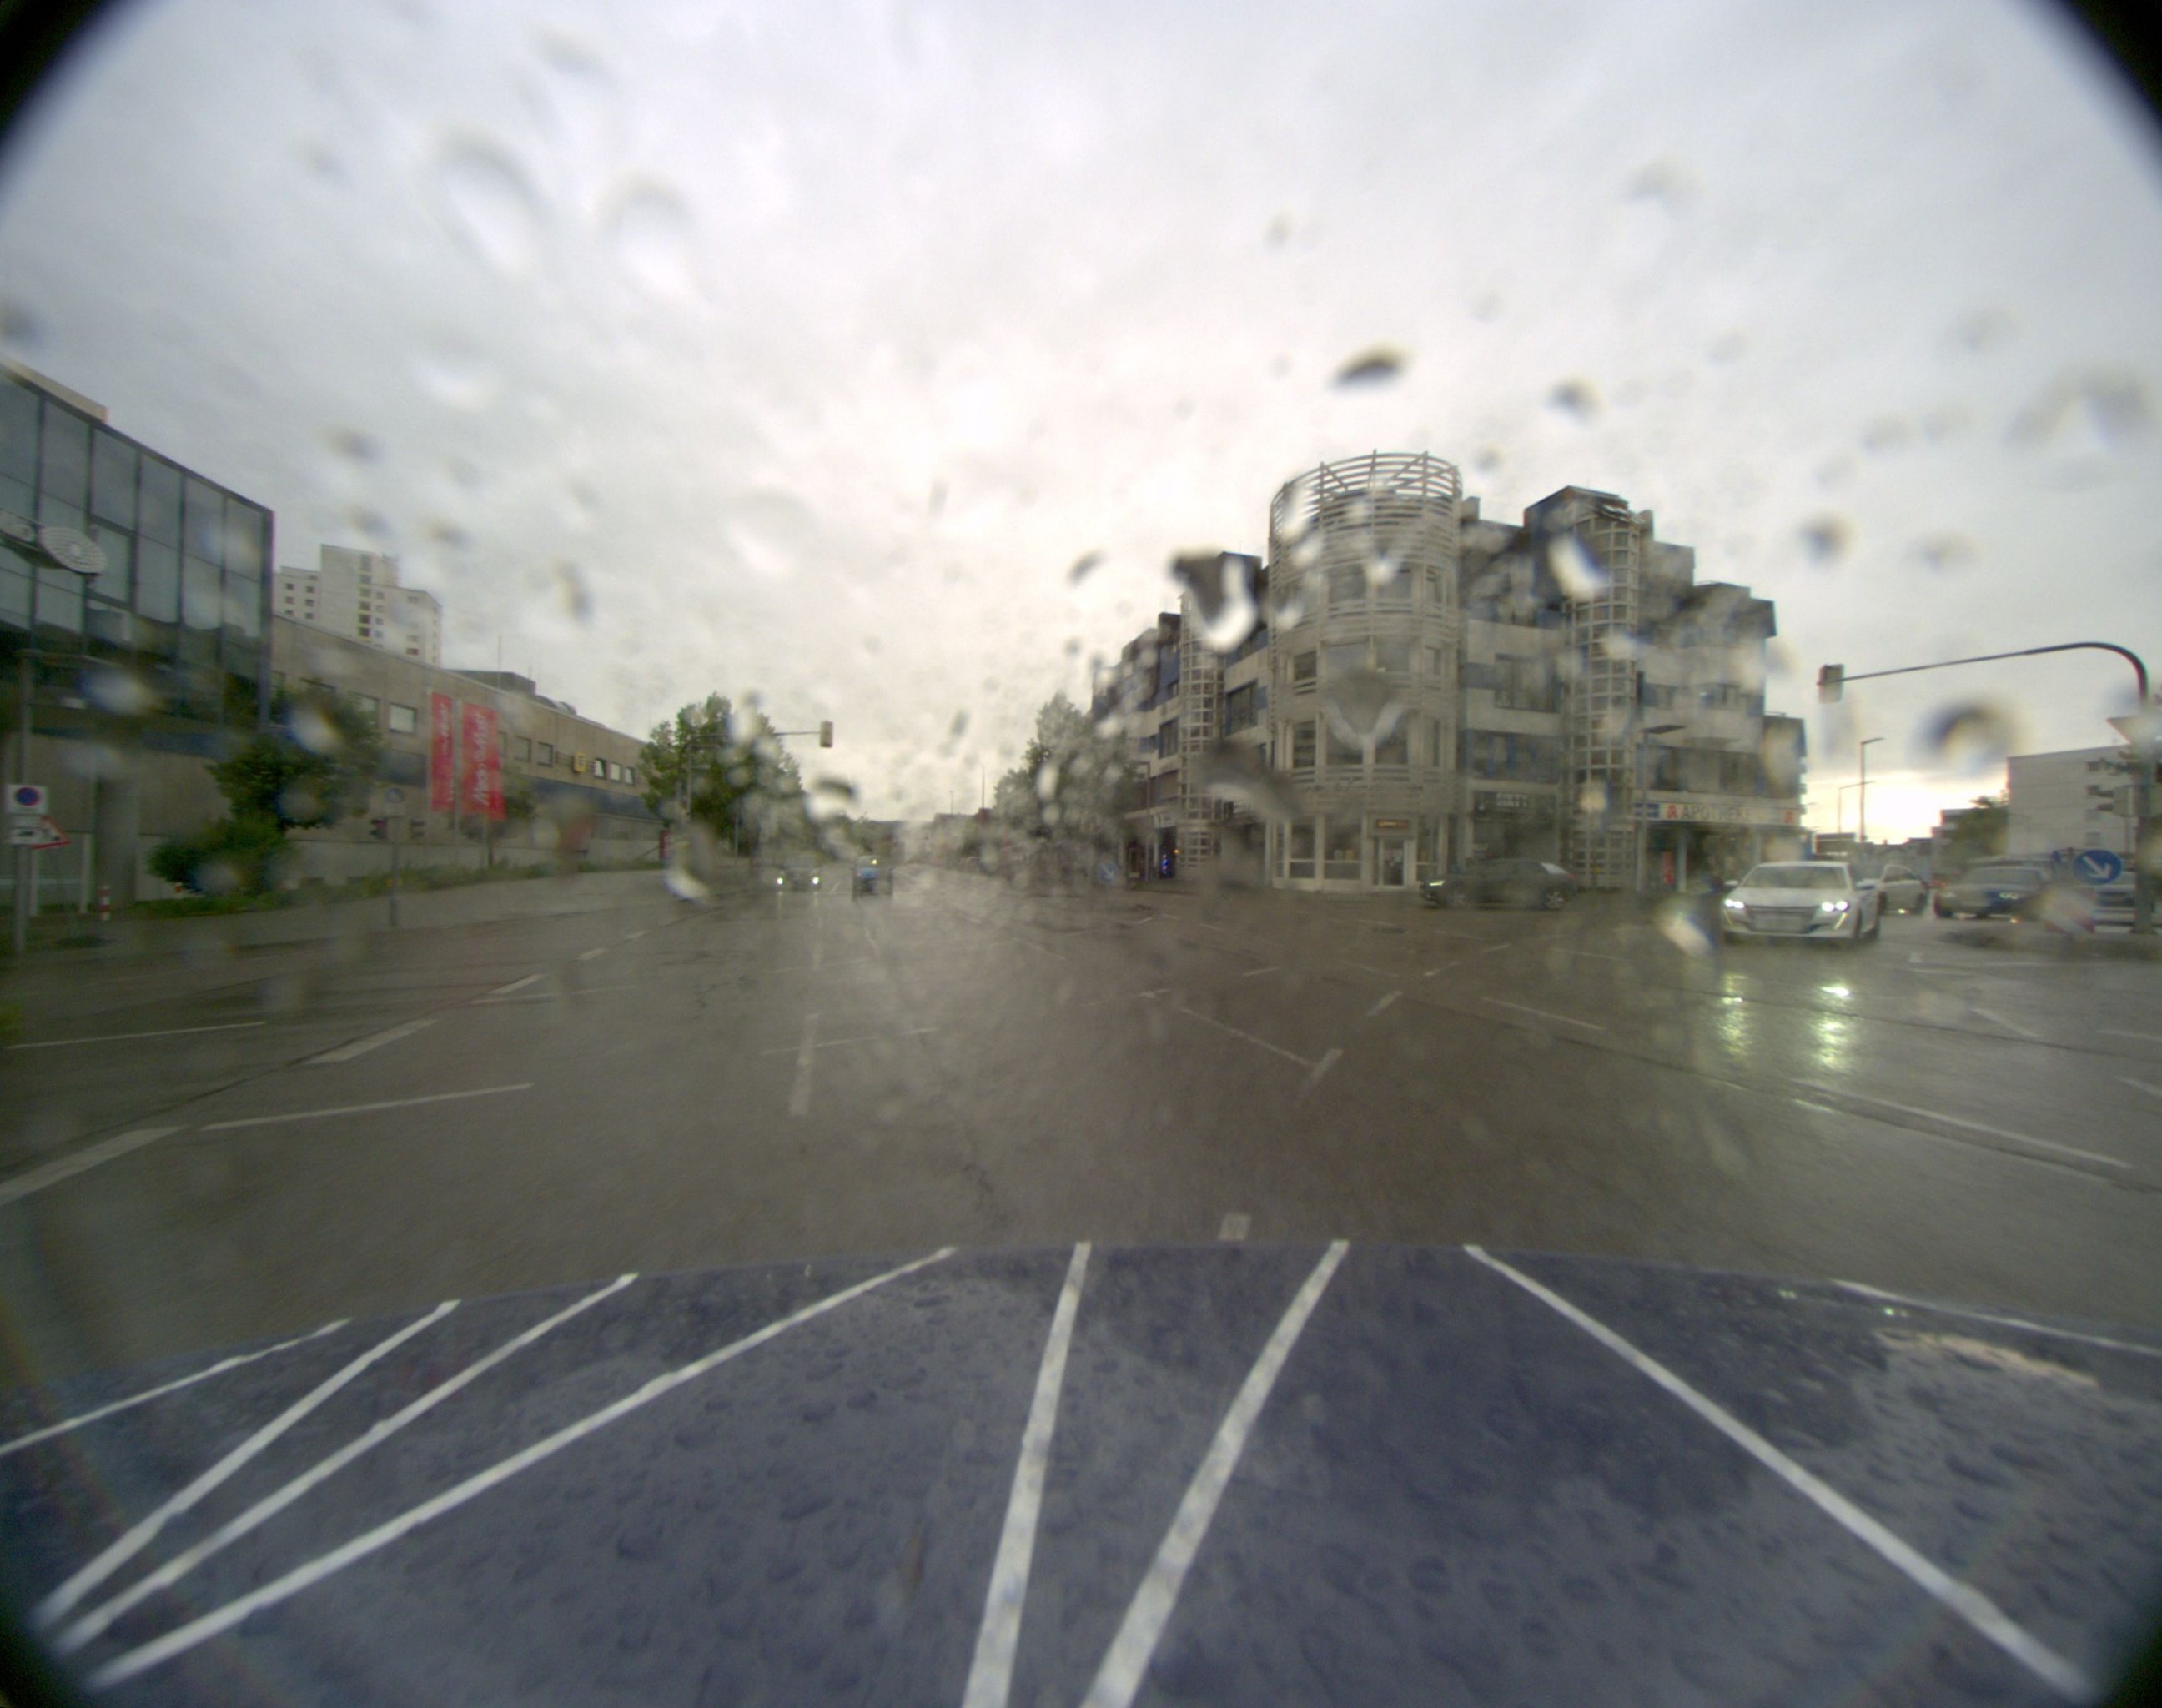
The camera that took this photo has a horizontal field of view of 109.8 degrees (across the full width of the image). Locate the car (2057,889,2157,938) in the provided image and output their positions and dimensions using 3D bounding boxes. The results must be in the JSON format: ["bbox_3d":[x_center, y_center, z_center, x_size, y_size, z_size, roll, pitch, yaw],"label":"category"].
[{"bbox_3d":[37.424,2.099,27.701,4.008,1.605,1.995,1,-2,-35],"label":"car"}]

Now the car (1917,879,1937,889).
[{"bbox_3d":[132.079,4.618,118.700,1.867,1.428,3.749,1,0,45],"label":"car"}]

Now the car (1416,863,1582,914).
[{"bbox_3d":[12.450,0.997,22.863,4.040,1.435,1.737,0,-1,10],"label":"car"}]

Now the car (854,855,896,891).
[{"bbox_3d":[-9.047,0.804,33.445,1.680,1.389,3.849,0,1,-15],"label":"car"}]

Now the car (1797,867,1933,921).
[{"bbox_3d":[24.189,1.231,23.438,4.069,1.519,1.731,2,-1,-26],"label":"car"}]

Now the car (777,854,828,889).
[{"bbox_3d":[-12.221,0.728,33.515,1.745,1.387,3.691,0,1,-14],"label":"car"}]

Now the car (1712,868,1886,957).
[{"bbox_3d":[13.114,0.999,13.816,3.904,1.401,1.740,2,-3,-38],"label":"car"}]

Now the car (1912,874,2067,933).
[{"bbox_3d":[24.912,1.297,20.835,3.818,1.446,1.748,1,0,-24],"label":"car"}]
